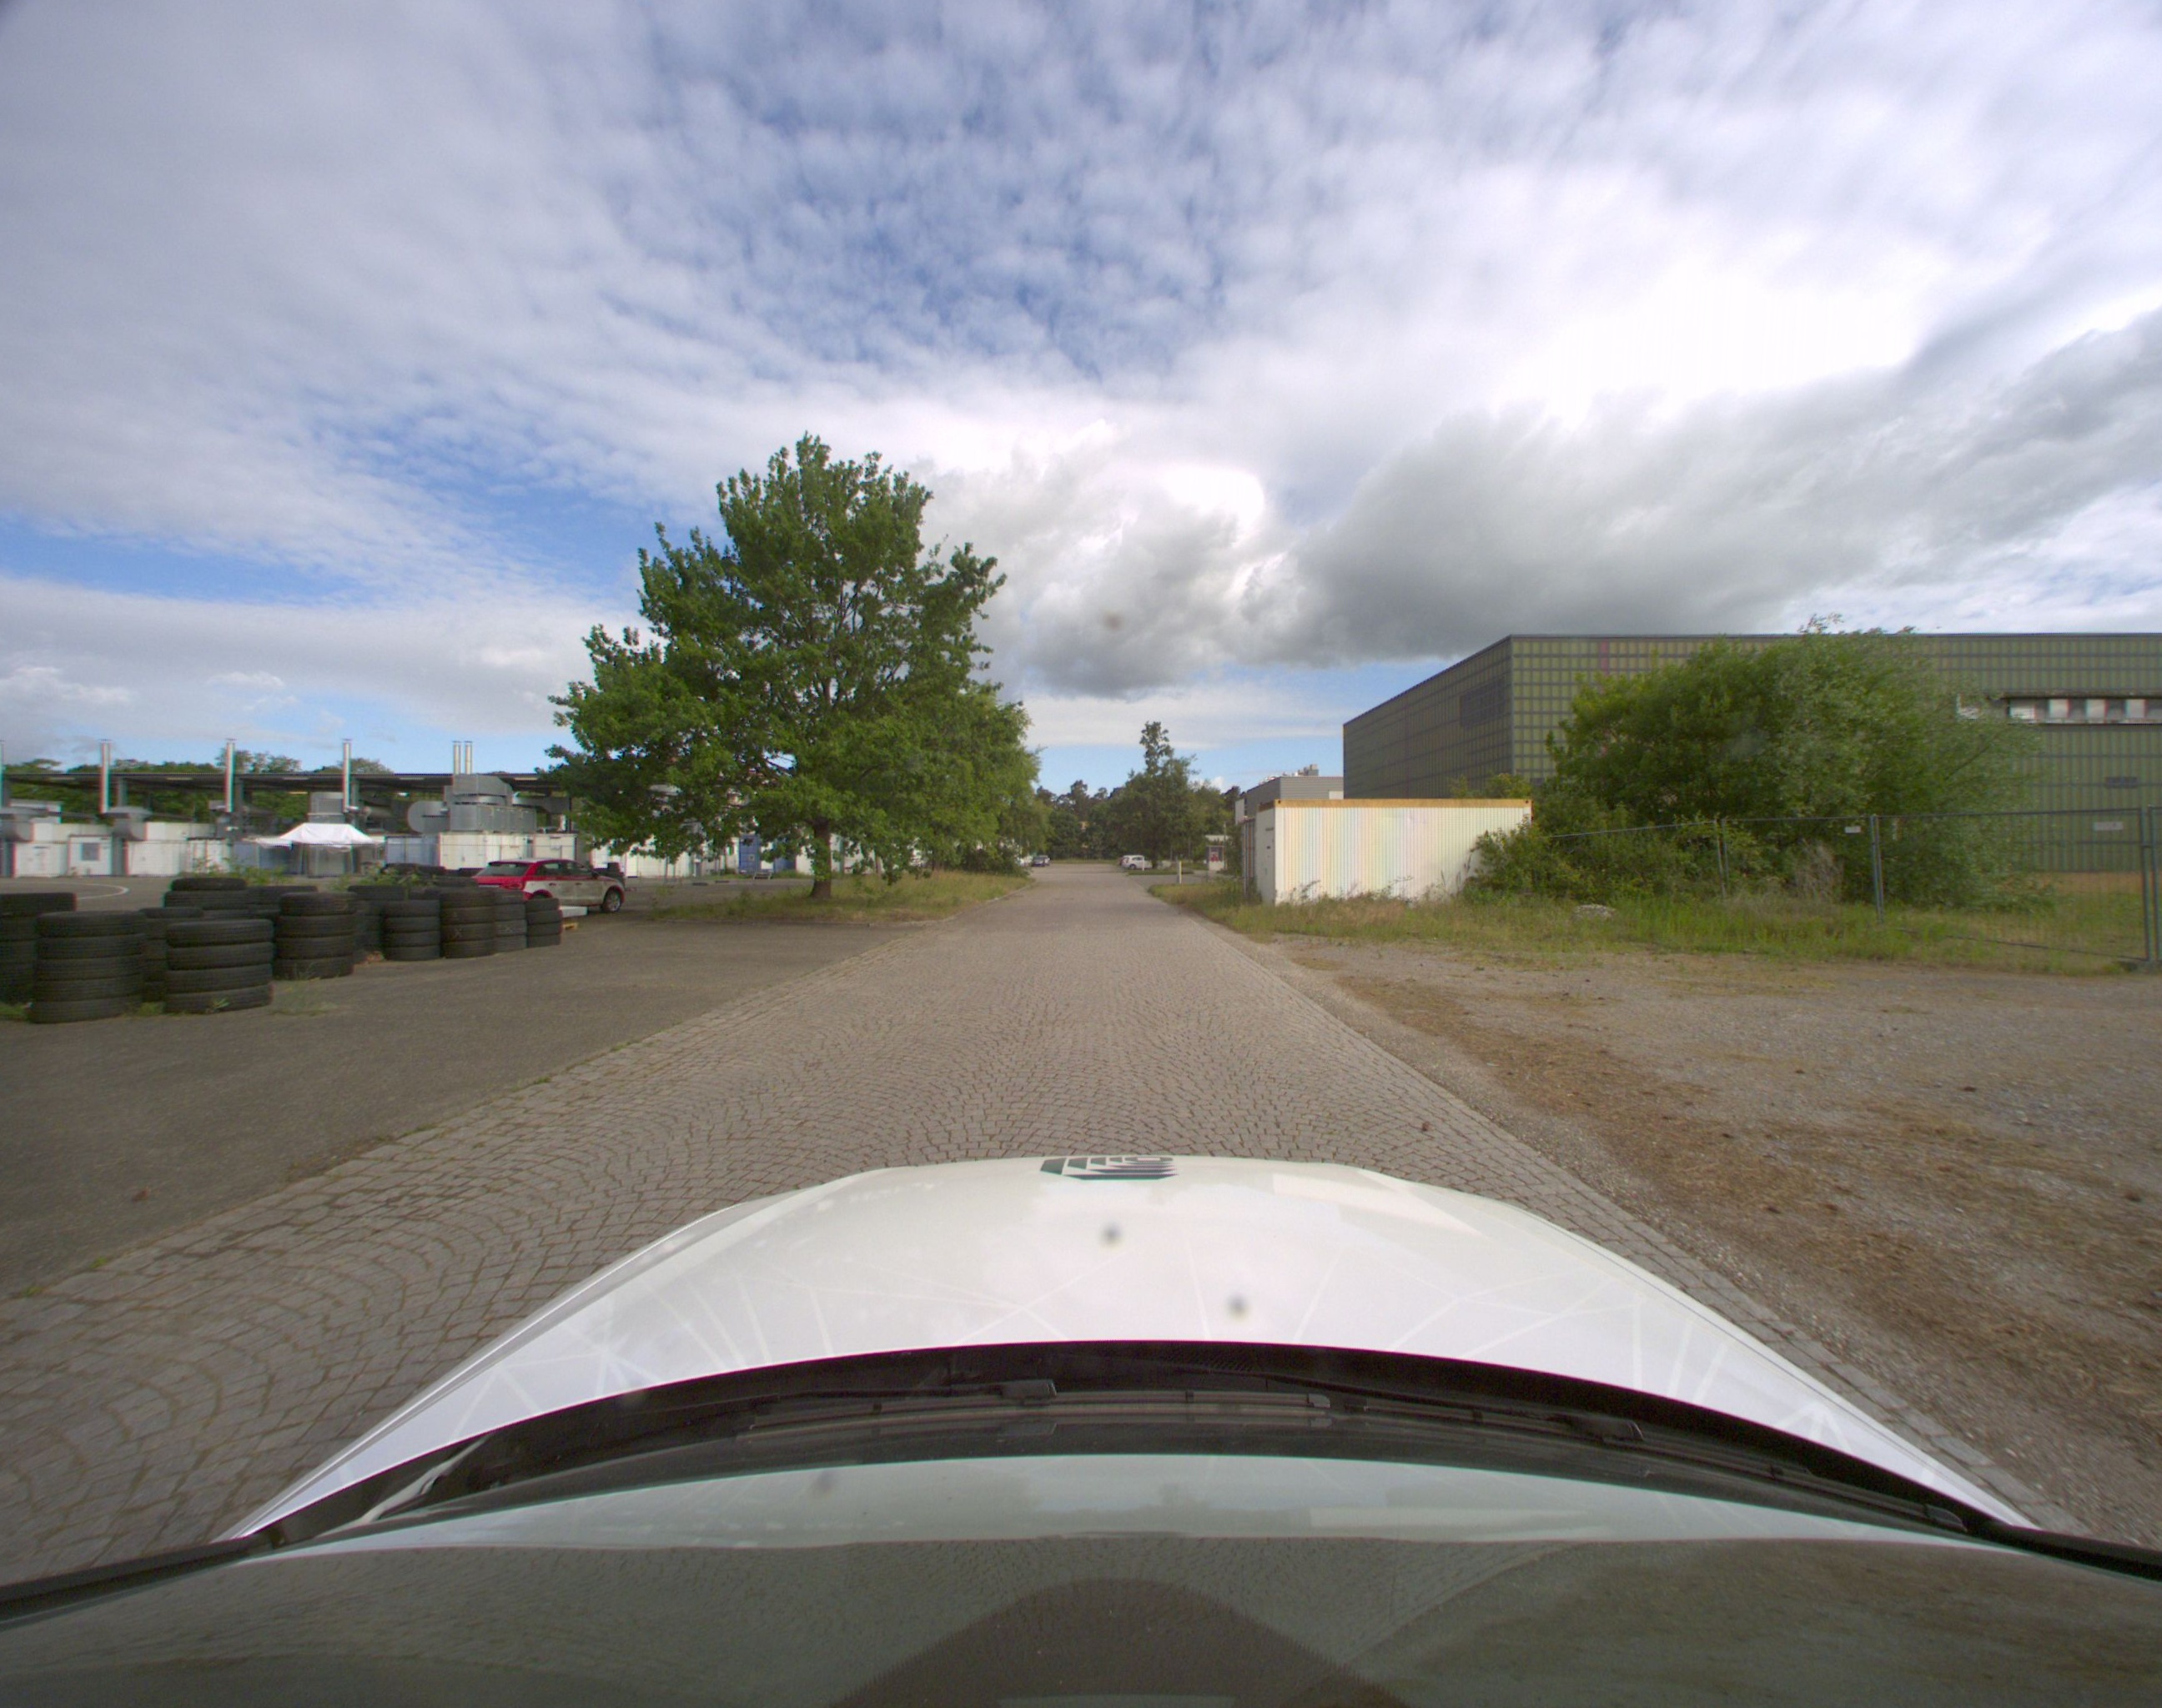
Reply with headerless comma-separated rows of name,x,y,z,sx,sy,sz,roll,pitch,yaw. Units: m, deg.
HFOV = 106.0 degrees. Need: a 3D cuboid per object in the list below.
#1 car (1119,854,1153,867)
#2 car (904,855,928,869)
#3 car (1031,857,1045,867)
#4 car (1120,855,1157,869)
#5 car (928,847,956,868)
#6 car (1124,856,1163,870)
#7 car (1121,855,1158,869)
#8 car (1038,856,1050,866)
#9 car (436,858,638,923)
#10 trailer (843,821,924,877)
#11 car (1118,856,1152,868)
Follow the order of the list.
car,6.705,0.832,99.300,3.978,1.533,1.998,0,0,-3
car,-19.662,0.929,97.191,1.893,1.575,4.002,0,0,2
car,-5.748,1.097,109.997,1.744,1.364,3.997,0,0,-2
car,6.430,0.872,91.181,3.973,1.455,1.770,0,0,1
car,-16.789,0.408,98.459,1.984,2.523,5.624,0,0,4
car,6.585,0.948,85.970,3.973,1.455,2.000,0,-1,1
car,6.325,0.888,88.141,3.973,1.455,1.697,0,0,1
car,-5.469,1.074,120.228,1.744,1.454,3.997,0,0,-2
car,-13.252,0.814,20.203,1.814,1.431,4.227,0,0,7
trailer,-14.044,-0.310,58.897,2.645,3.706,10.730,0,0,3
car,6.330,0.945,96.085,3.973,1.455,1.770,0,0,1
